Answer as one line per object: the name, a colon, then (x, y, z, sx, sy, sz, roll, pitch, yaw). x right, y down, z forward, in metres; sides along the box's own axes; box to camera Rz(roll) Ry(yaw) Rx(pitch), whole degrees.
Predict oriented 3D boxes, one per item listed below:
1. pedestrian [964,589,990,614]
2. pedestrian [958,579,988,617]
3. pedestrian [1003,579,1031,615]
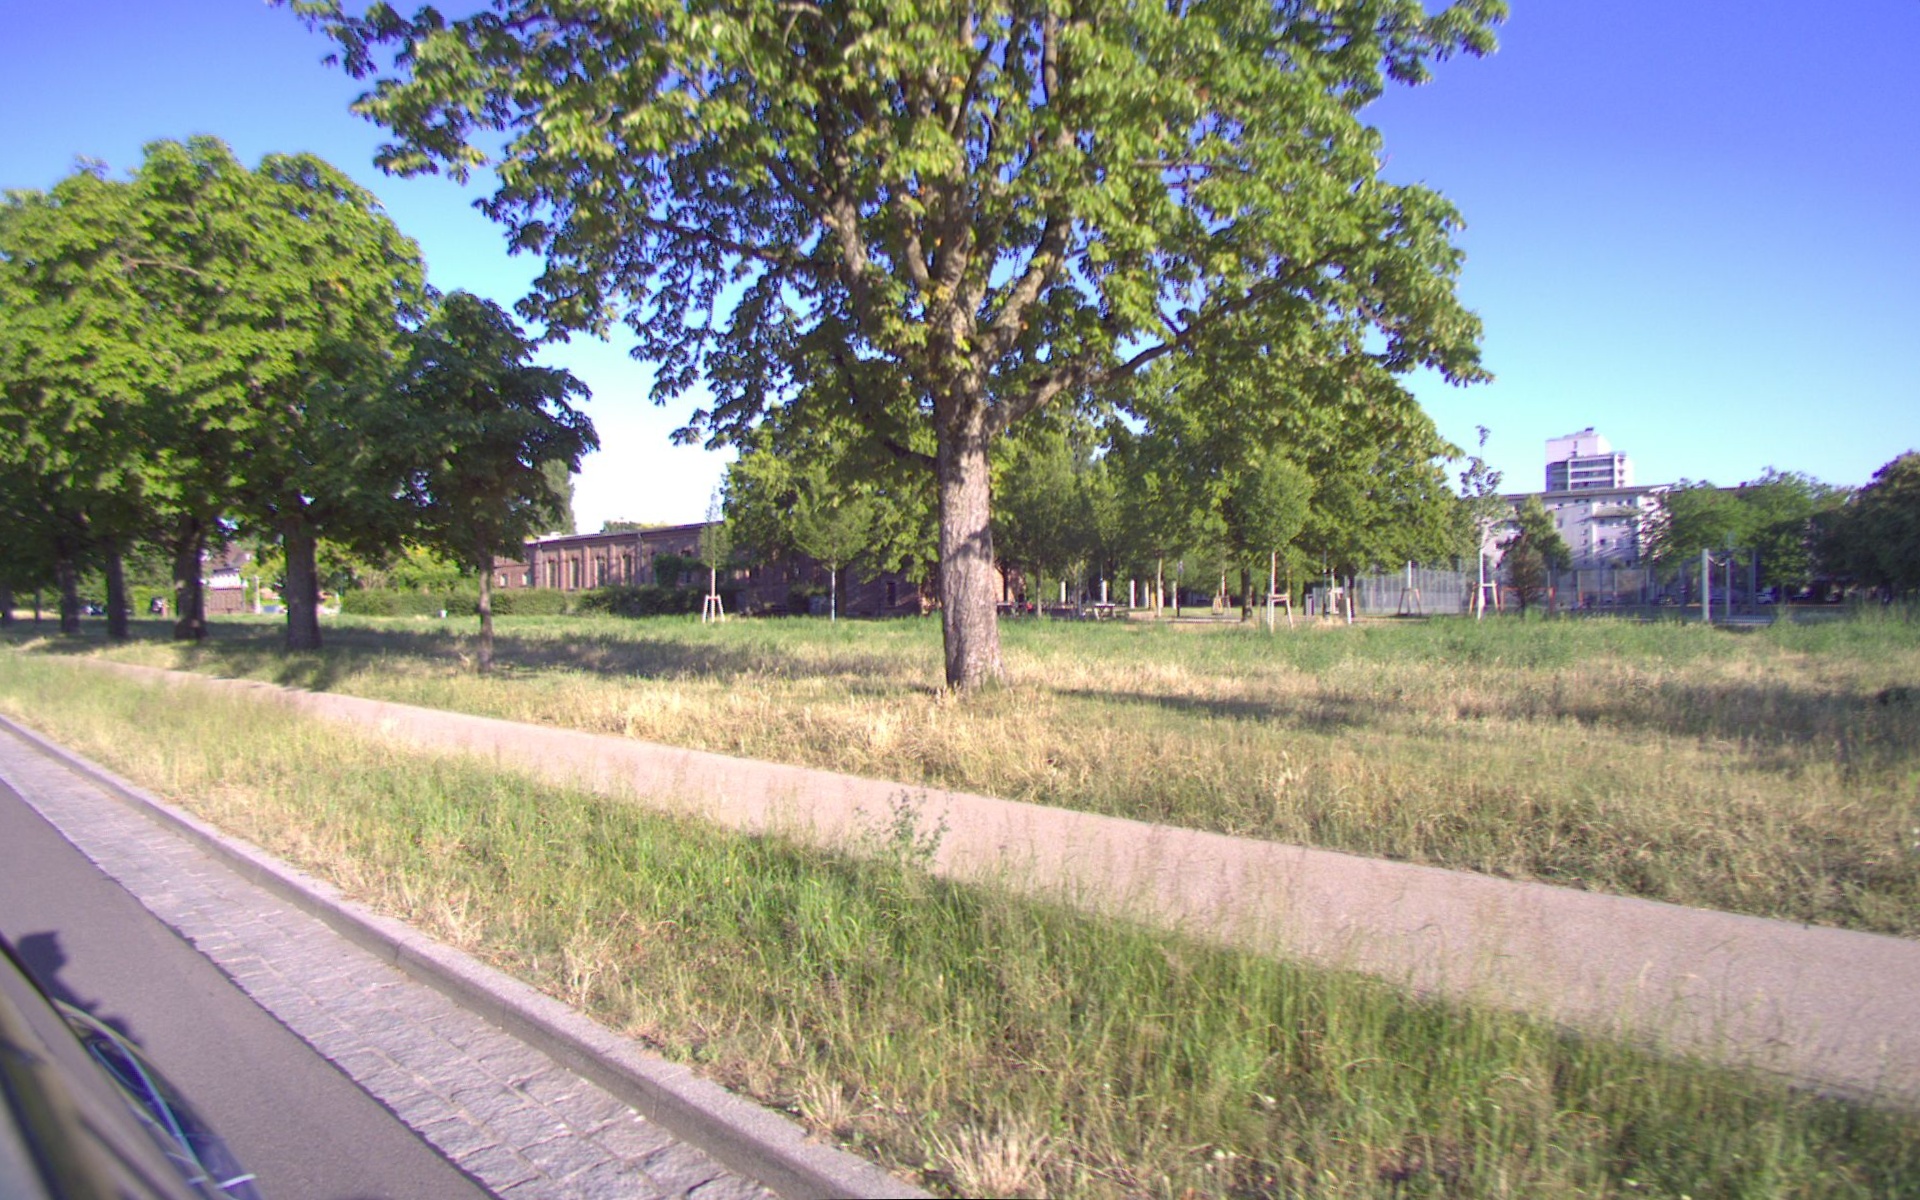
pedestrian: (0.934, 0.082, 55.474, 0.980, 1.304, 1.104, -1, 0, 32)
pedestrian: (0.670, -0.104, 50.783, 1.099, 1.877, 0.984, -1, 0, -43)
pedestrian: (2.997, -0.142, 53.323, 1.099, 1.877, 0.984, -2, 0, -43)
